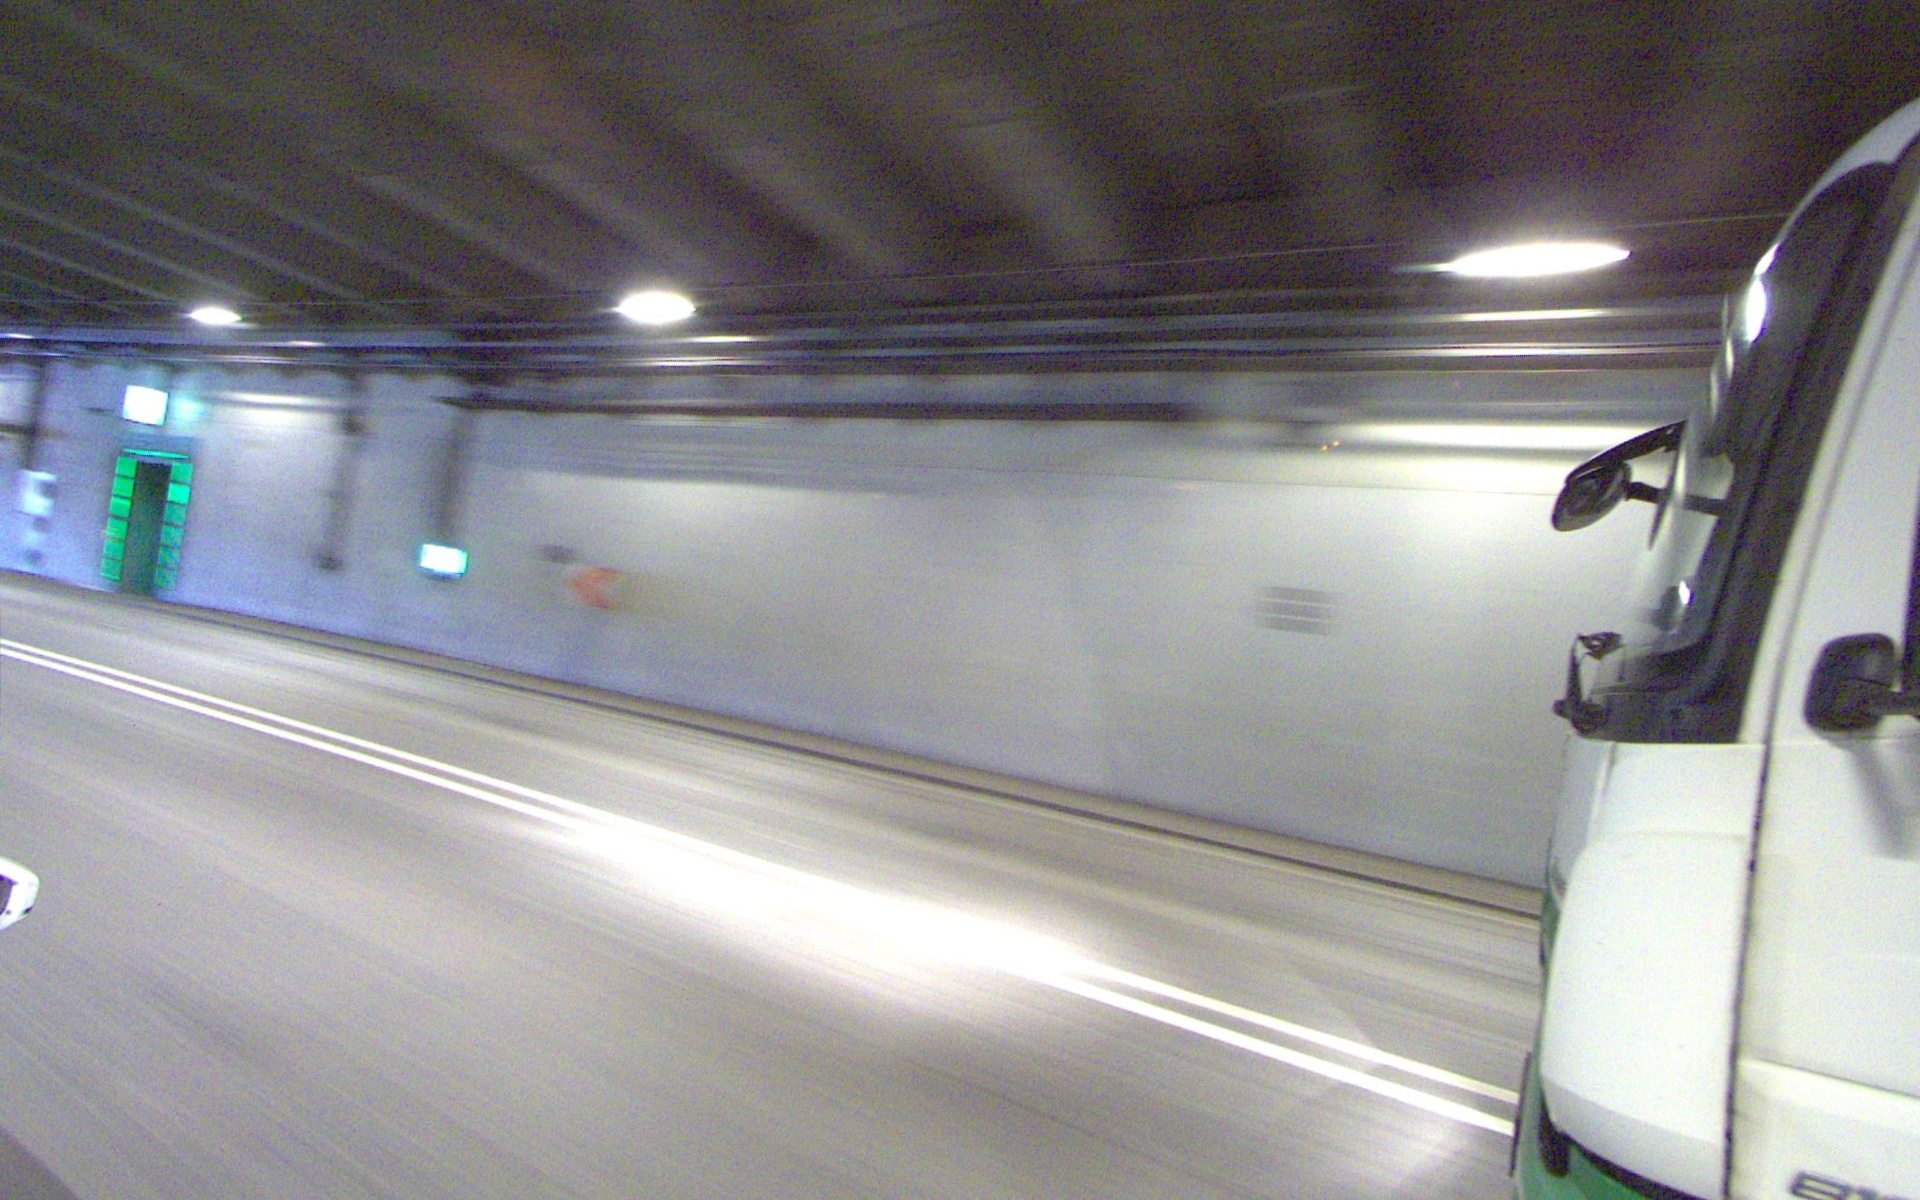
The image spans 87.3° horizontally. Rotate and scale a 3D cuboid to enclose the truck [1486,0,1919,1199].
[{"bbox_3d":[4.417,0.463,0.430,7.127,3.219,2.557,7,-1,33],"label":"truck"}]
